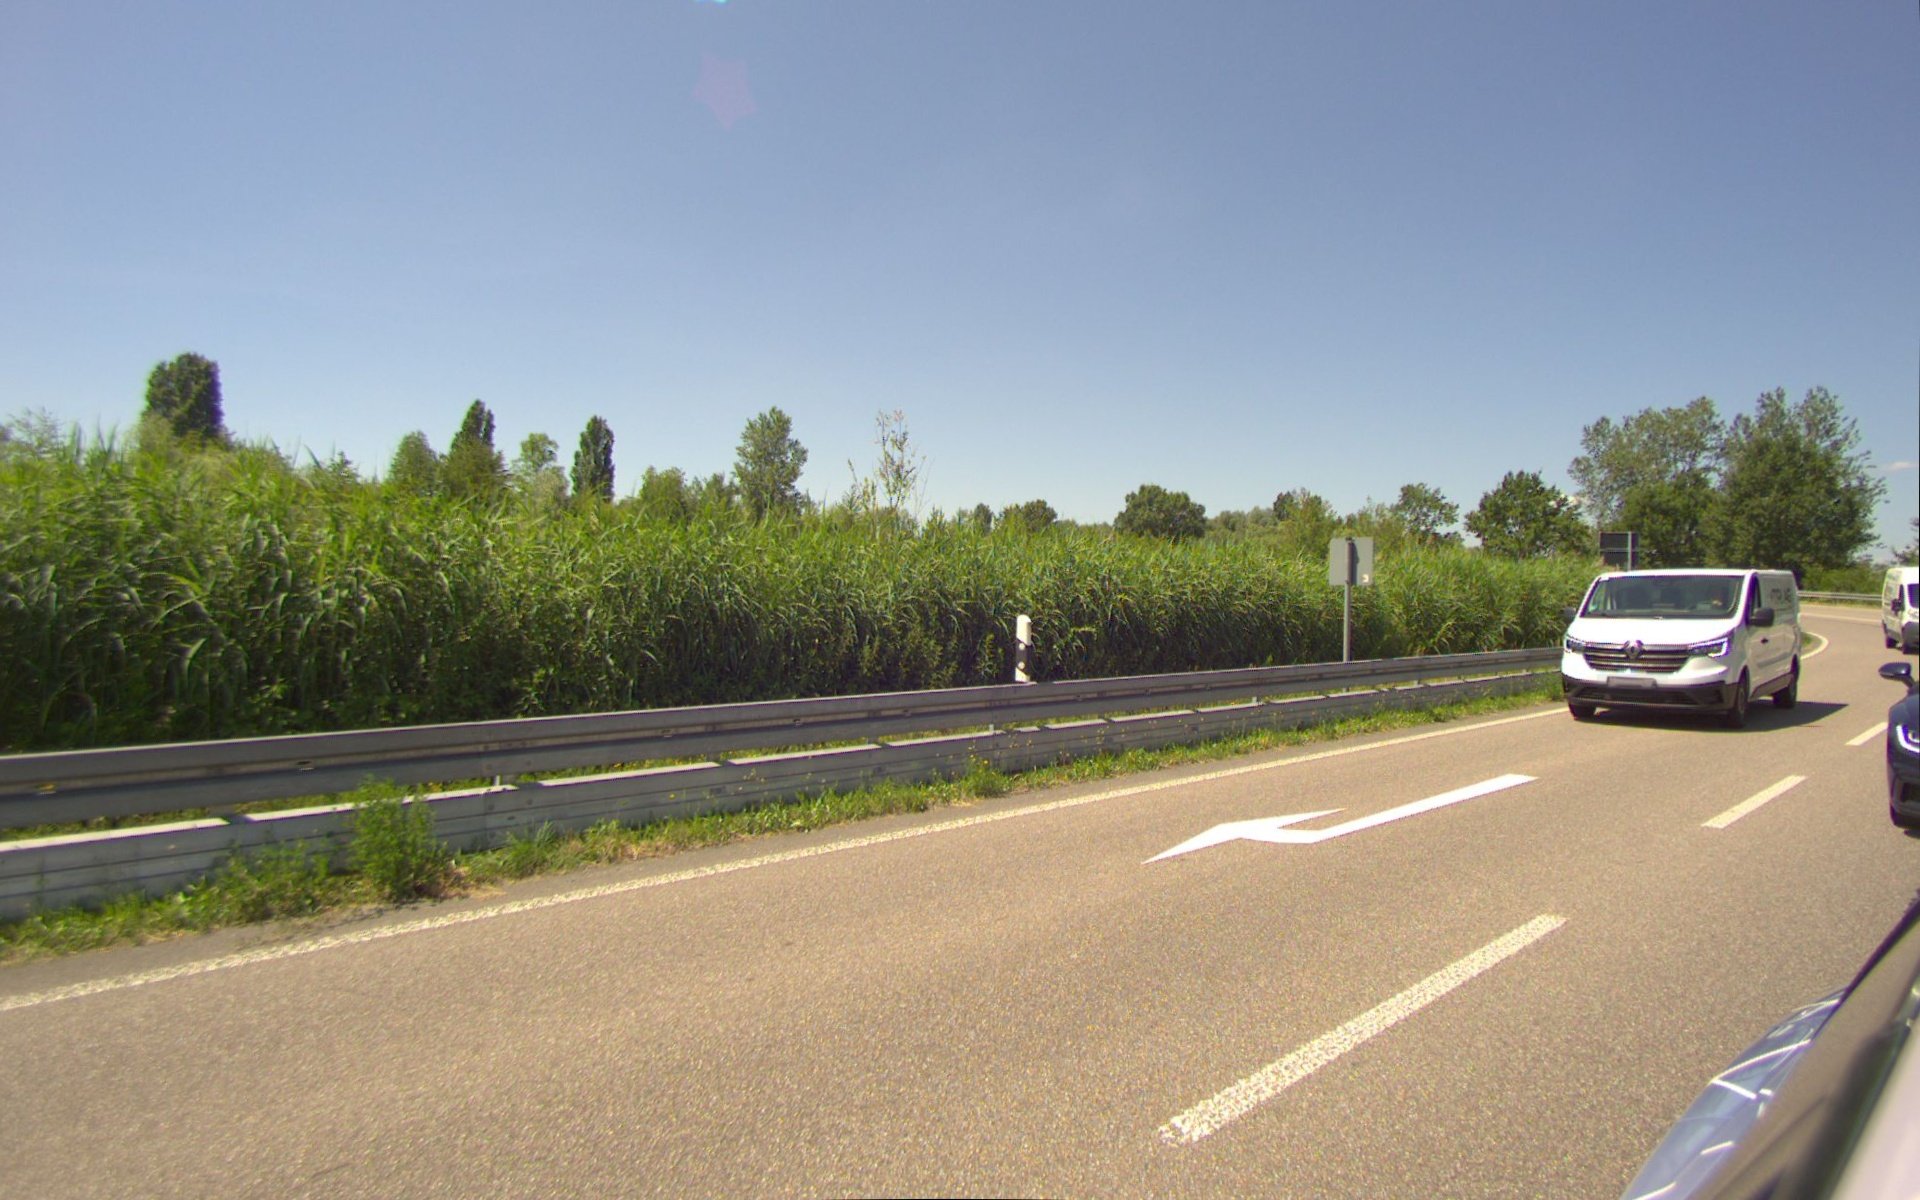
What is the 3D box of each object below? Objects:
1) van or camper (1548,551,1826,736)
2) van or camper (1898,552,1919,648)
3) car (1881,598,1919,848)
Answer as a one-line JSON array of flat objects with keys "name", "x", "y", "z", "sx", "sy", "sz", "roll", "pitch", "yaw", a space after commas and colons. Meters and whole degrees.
[{"name": "van or camper", "x": 10.054, "y": 0.457, "z": 13.801, "sx": 5.355, "sy": 2.057, "sz": 2.006, "roll": 0, "pitch": 0, "yaw": -42}, {"name": "van or camper", "x": 28.436, "y": -0.021, "z": 28.871, "sx": 2.065, "sy": 2.587, "sz": 5.961, "roll": 0, "pitch": 0, "yaw": 39}, {"name": "car", "x": 7.745, "y": 0.710, "z": 6.780, "sx": 4.454, "sy": 1.448, "sz": 1.841, "roll": 0, "pitch": 0, "yaw": -41}]
